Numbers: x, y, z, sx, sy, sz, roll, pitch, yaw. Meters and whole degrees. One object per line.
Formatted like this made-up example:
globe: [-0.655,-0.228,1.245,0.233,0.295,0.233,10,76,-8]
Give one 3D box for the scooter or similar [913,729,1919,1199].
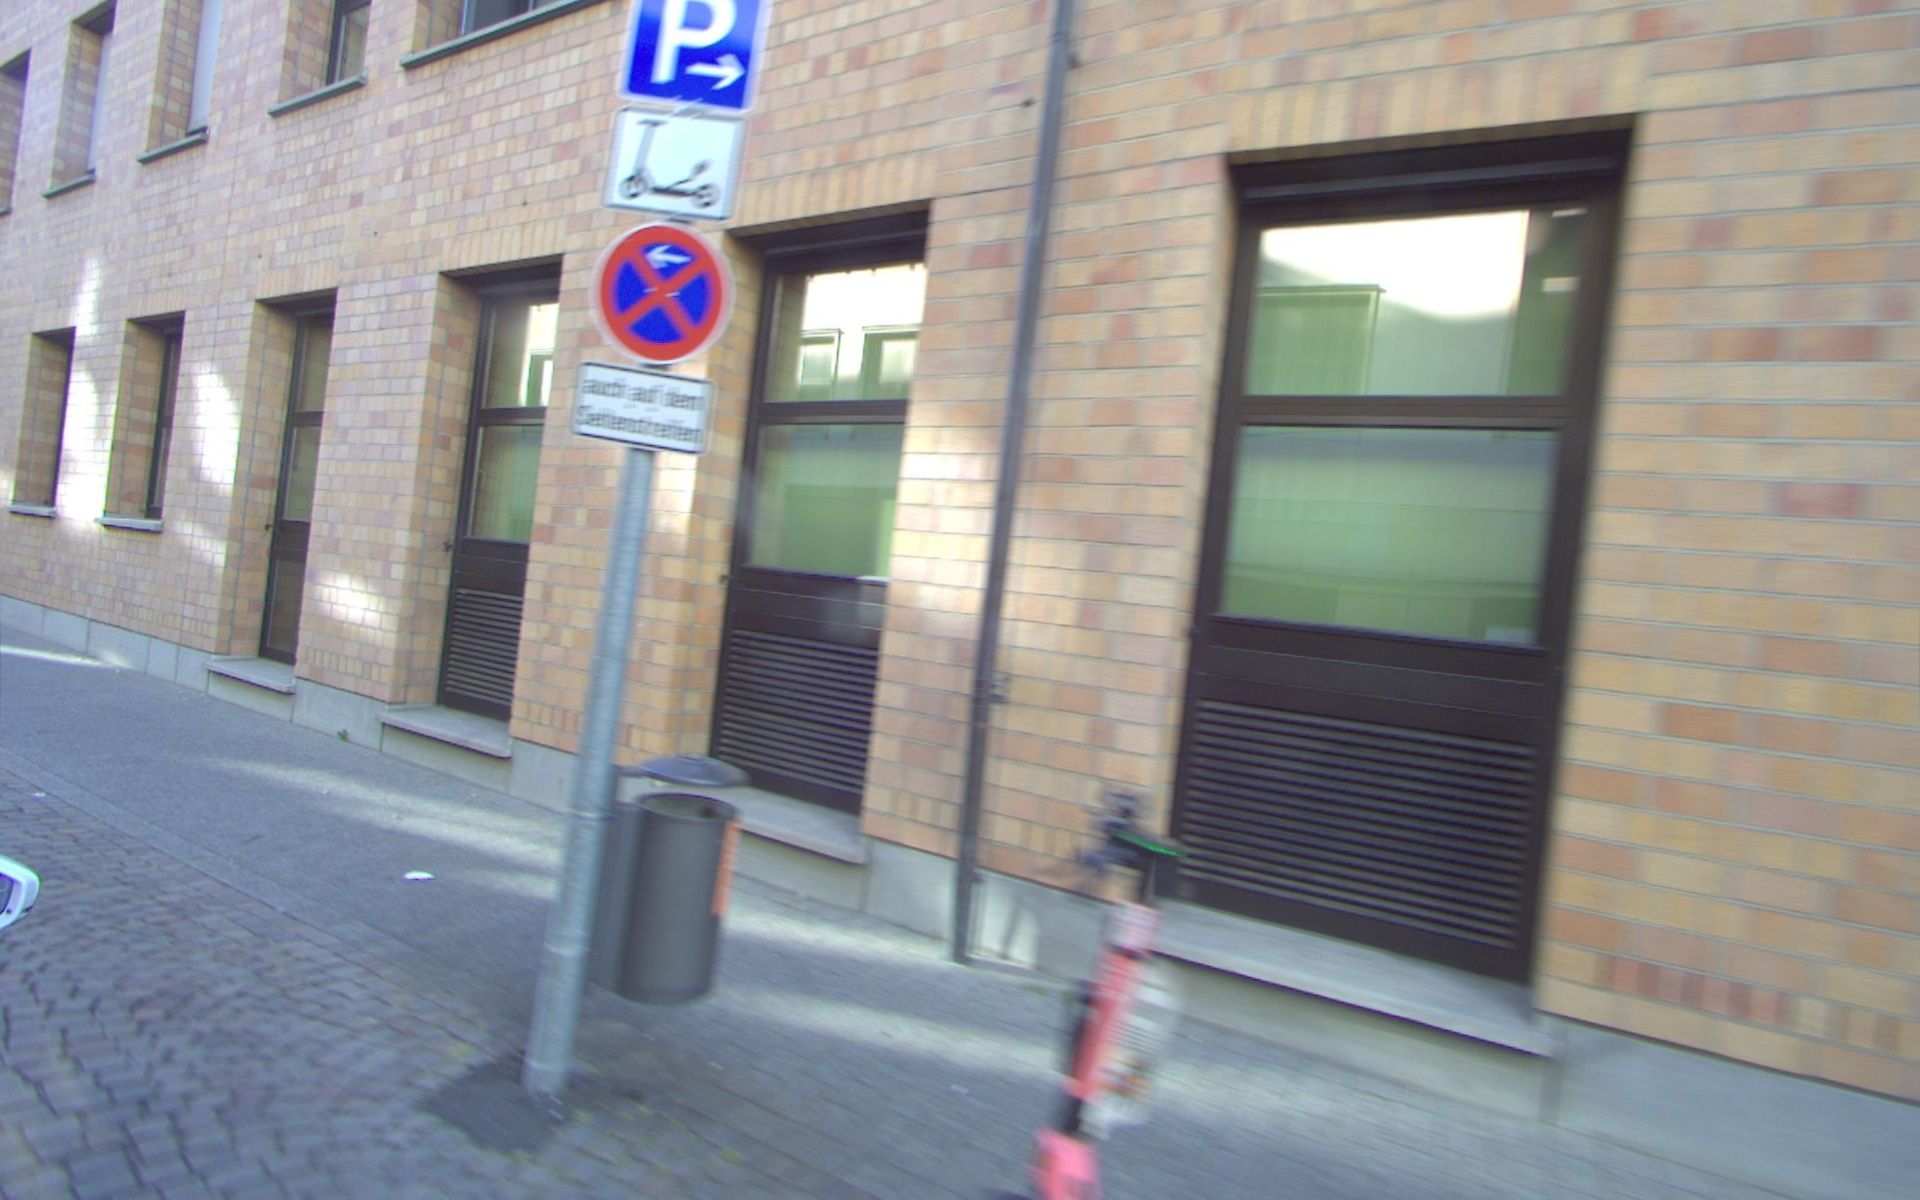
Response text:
scooter or similar: [0.438,0.949,1.612,0.531,1.250,1.413,8,-2,-20]
